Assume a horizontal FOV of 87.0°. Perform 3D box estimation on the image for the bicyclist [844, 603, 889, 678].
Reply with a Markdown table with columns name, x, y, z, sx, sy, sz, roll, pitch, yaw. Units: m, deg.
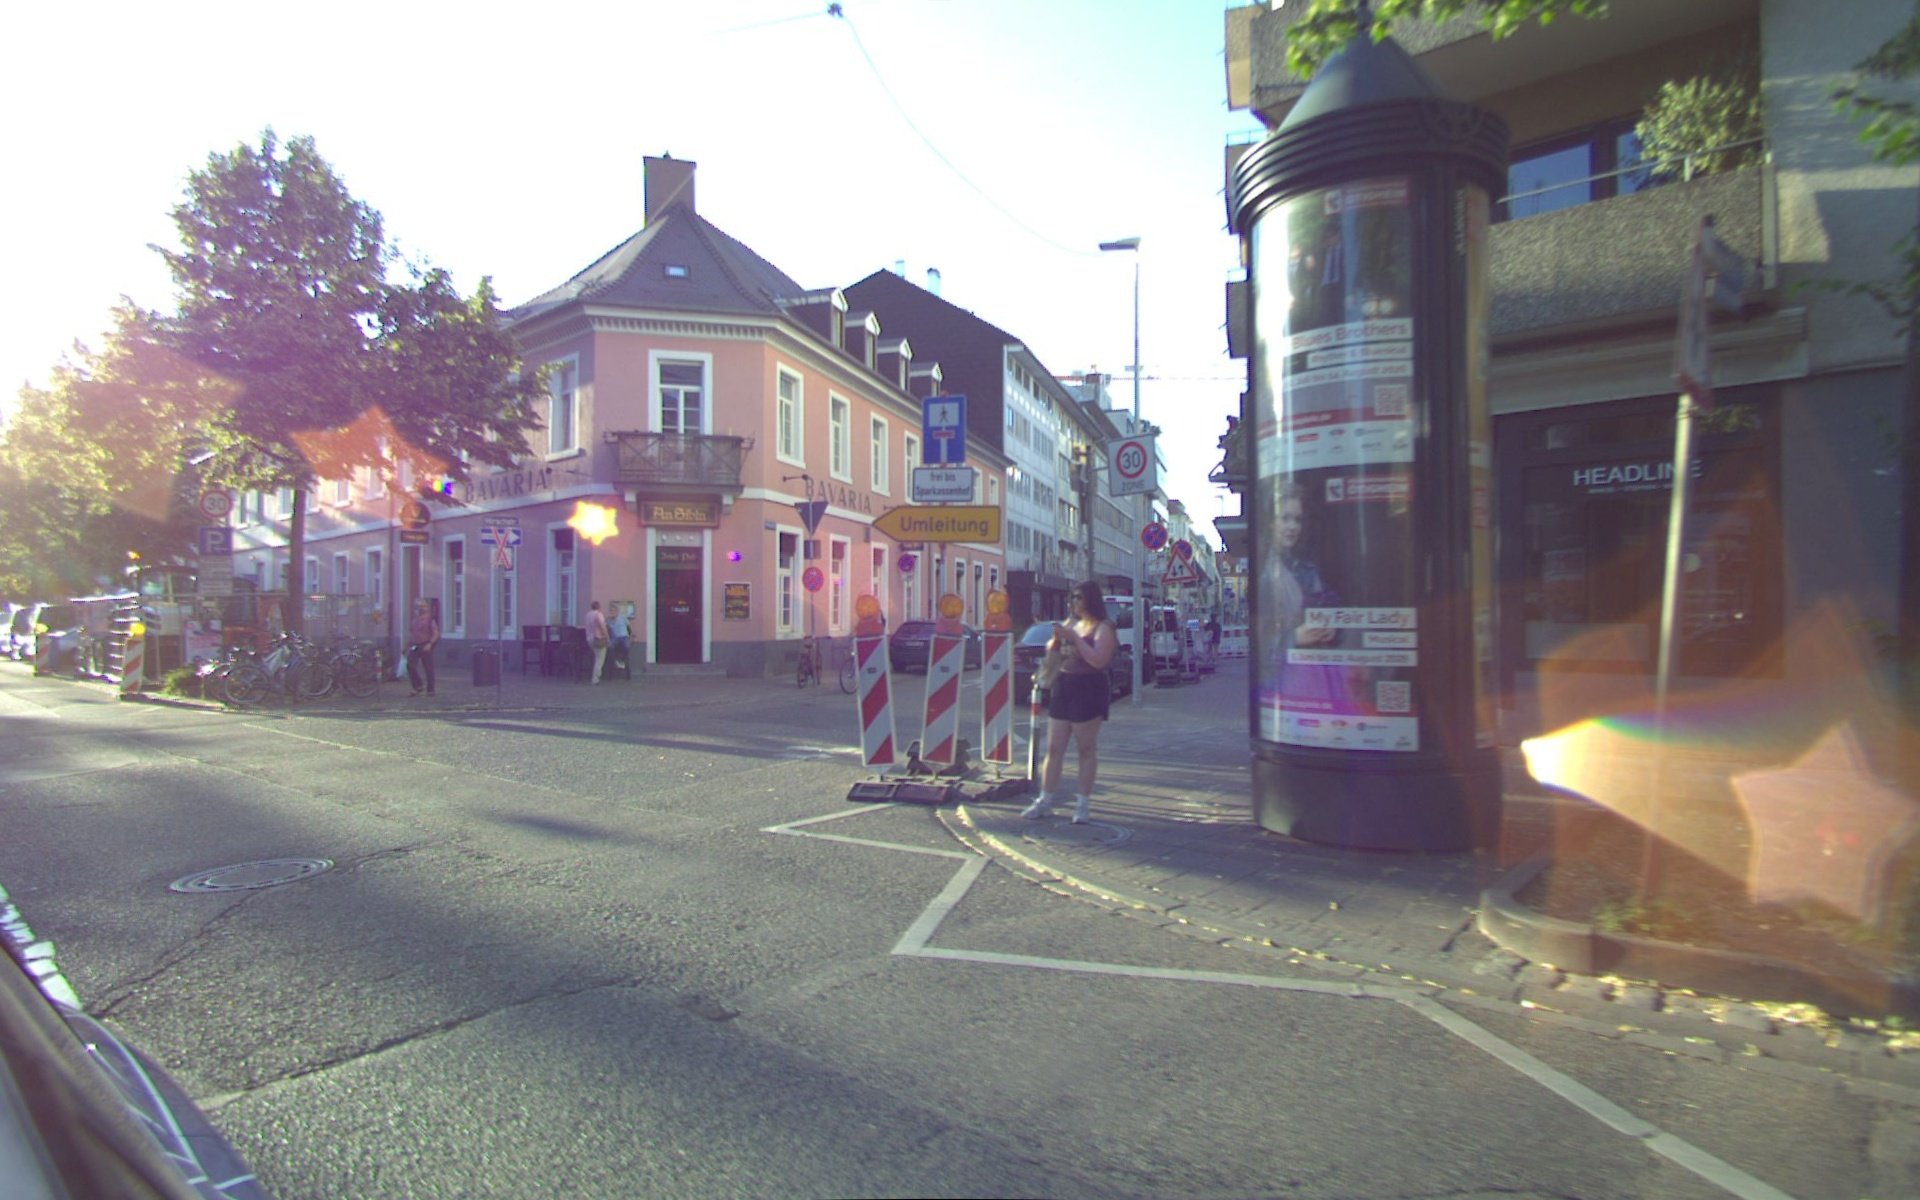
| name | x | y | z | sx | sy | sz | roll | pitch | yaw |
| --- | --- | --- | --- | --- | --- | --- | --- | --- | --- |
| bicyclist | -1.874 | 0.804 | 20.392 | 0.582 | 1.469 | 0.737 | -3 | -2 | 25 |

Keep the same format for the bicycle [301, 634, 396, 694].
| name | x | y | z | sx | sy | sz | roll | pitch | yaw |
| --- | --- | --- | --- | --- | --- | --- | --- | --- | --- |
| bicycle | -12.909 | 1.329 | 21.413 | 0.445 | 1.157 | 1.664 | 0 | 1 | 44 |

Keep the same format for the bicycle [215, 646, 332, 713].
| name | x | y | z | sx | sy | sz | roll | pitch | yaw |
| --- | --- | --- | --- | --- | --- | --- | --- | --- | --- |
| bicycle | -12.282 | 1.394 | 18.143 | 1.662 | 1.029 | 0.445 | -3 | 2 | -41 |

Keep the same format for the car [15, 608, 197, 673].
| name | x | y | z | sx | sy | sz | roll | pitch | yaw |
| --- | --- | --- | --- | --- | --- | --- | --- | --- | --- |
| car | -28.778 | 1.317 | 34.218 | 1.963 | 1.991 | 4.440 | -2 | -1 | 39 |

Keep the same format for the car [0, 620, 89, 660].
| name | x | y | z | sx | sy | sz | roll | pitch | yaw |
| --- | --- | --- | --- | --- | --- | --- | --- | --- | --- |
| car | -45.734 | 1.931 | 49.243 | 1.972 | 1.922 | 4.820 | -2 | -2 | 41 |

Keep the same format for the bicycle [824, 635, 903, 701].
| name | x | y | z | sx | sy | sz | roll | pitch | yaw |
| --- | --- | --- | --- | --- | --- | --- | --- | --- | --- |
| bicycle | -1.898 | 1.333 | 20.289 | 0.582 | 1.202 | 2.107 | -3 | -2 | 25 |

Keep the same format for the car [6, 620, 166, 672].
| name | x | y | z | sx | sy | sz | roll | pitch | yaw |
| --- | --- | --- | --- | --- | --- | --- | --- | --- | --- |
| car | -30.860 | 1.572 | 35.822 | 1.859 | 1.649 | 4.086 | -2 | -1 | 41 |

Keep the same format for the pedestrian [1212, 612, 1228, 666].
| name | x | y | z | sx | sy | sz | roll | pitch | yaw |
| --- | --- | --- | --- | --- | --- | --- | --- | --- | --- |
| pedestrian | 7.702 | 1.158 | 30.024 | 0.426 | 1.579 | 0.460 | -1 | -1 | 14 |

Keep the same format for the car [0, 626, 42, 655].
| name | x | y | z | sx | sy | sz | roll | pitch | yaw |
| --- | --- | --- | --- | --- | --- | --- | --- | --- | --- |
| car | -51.951 | 2.182 | 54.136 | 1.962 | 1.495 | 3.996 | -2 | -2 | 40 |

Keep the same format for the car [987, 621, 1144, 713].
| name | x | y | z | sx | sy | sz | roll | pitch | yaw |
| --- | --- | --- | --- | --- | --- | --- | --- | --- | --- |
| car | 2.003 | 1.089 | 17.973 | 1.983 | 1.390 | 4.184 | -1 | -1 | 18 |

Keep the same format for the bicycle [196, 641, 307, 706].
| name | x | y | z | sx | sy | sz | roll | pitch | yaw |
| --- | --- | --- | --- | --- | --- | --- | --- | --- | --- |
| bicycle | -13.632 | 1.388 | 19.508 | 0.444 | 1.086 | 1.666 | 0 | 2 | 40 |

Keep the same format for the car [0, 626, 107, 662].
| name | x | y | z | sx | sy | sz | roll | pitch | yaw |
| --- | --- | --- | --- | --- | --- | --- | --- | --- | --- |
| car | -42.037 | 2.003 | 46.332 | 1.733 | 1.496 | 4.429 | -2 | -1 | 43 |

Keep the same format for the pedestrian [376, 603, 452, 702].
| name | x | y | z | sx | sy | sz | roll | pitch | yaw |
| --- | --- | --- | --- | --- | --- | --- | --- | --- | --- |
| pedestrian | -10.135 | 0.963 | 18.825 | 1.023 | 1.779 | 0.820 | 0 | -1 | -7 |

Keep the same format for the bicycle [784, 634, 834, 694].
| name | x | y | z | sx | sy | sz | roll | pitch | yaw |
| --- | --- | --- | --- | --- | --- | --- | --- | --- | --- |
| bicycle | -3.288 | 1.367 | 22.172 | 0.579 | 1.202 | 1.938 | 1 | 0 | 7 |

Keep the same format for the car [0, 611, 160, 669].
| name | x | y | z | sx | sy | sz | roll | pitch | yaw |
| --- | --- | --- | --- | --- | --- | --- | --- | --- | --- |
| car | -32.788 | 1.439 | 37.673 | 2.067 | 1.991 | 4.436 | -2 | -1 | 41 |

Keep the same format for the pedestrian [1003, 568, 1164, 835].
| name | x | y | z | sx | sy | sz | roll | pitch | yaw |
| --- | --- | --- | --- | --- | --- | --- | --- | --- | --- |
| pedestrian | 0.847 | 0.653 | 7.008 | 0.701 | 1.699 | 0.835 | 0 | -1 | -40 |

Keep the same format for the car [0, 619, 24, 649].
| name | x | y | z | sx | sy | sz | roll | pitch | yaw |
| --- | --- | --- | --- | --- | --- | --- | --- | --- | --- |
| car | -60.635 | 2.114 | 62.476 | 1.806 | 1.820 | 4.093 | -2 | -2 | 42 |

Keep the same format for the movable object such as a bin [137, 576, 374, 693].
| name | x | y | z | sx | sy | sz | roll | pitch | yaw |
| --- | --- | --- | --- | --- | --- | --- | --- | --- | --- |
| movable object such as a bin | -16.986 | 0.790 | 24.893 | 2.278 | 2.514 | 5.762 | 0 | -1 | -6 |

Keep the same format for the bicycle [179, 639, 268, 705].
| name | x | y | z | sx | sy | sz | roll | pitch | yaw |
| --- | --- | --- | --- | --- | --- | --- | --- | --- | --- |
| bicycle | -14.461 | 1.392 | 19.911 | 0.439 | 1.125 | 1.545 | -1 | 2 | 8 |

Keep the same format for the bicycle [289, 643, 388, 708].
| name | x | y | z | sx | sy | sz | roll | pitch | yaw |
| --- | --- | --- | --- | --- | --- | --- | --- | --- | --- |
| bicycle | -11.303 | 1.352 | 18.438 | 0.470 | 1.067 | 1.474 | 0 | 1 | 35 |

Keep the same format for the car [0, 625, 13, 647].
| name | x | y | z | sx | sy | sz | roll | pitch | yaw |
| --- | --- | --- | --- | --- | --- | --- | --- | --- | --- |
| car | -66.080 | 2.427 | 67.511 | 1.593 | 1.450 | 4.108 | -2 | -1 | 42 |

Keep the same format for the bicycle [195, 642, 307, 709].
| name | x | y | z | sx | sy | sz | roll | pitch | yaw |
| --- | --- | --- | --- | --- | --- | --- | --- | --- | --- |
| bicycle | -13.290 | 1.398 | 18.999 | 1.662 | 1.086 | 0.445 | -3 | 2 | -41 |

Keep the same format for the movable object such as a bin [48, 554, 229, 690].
| name | x | y | z | sx | sy | sz | roll | pitch | yaw |
| --- | --- | --- | --- | --- | --- | --- | --- | --- | --- |
| movable object such as a bin | -20.366 | 0.537 | 25.023 | 5.300 | 2.991 | 2.597 | -1 | -1 | 41 |

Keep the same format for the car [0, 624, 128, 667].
| name | x | y | z | sx | sy | sz | roll | pitch | yaw |
| --- | --- | --- | --- | --- | --- | --- | --- | --- | --- |
| car | -36.046 | 1.789 | 40.239 | 1.838 | 1.512 | 4.288 | -2 | -1 | 36 |

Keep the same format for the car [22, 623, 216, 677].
| name | x | y | z | sx | sy | sz | roll | pitch | yaw |
| --- | --- | --- | --- | --- | --- | --- | --- | --- | --- |
| car | -26.527 | 1.535 | 32.020 | 1.893 | 1.481 | 4.543 | -2 | -1 | 44 |

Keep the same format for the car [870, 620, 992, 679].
| name | x | y | z | sx | sy | sz | roll | pitch | yaw |
| --- | --- | --- | --- | --- | --- | --- | --- | --- | --- |
| car | -0.703 | 1.325 | 28.325 | 1.982 | 1.482 | 4.501 | -2 | -1 | 18 |

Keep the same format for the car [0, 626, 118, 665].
| name | x | y | z | sx | sy | sz | roll | pitch | yaw |
| --- | --- | --- | --- | --- | --- | --- | --- | --- | --- |
| car | -38.052 | 1.877 | 42.559 | 1.905 | 1.512 | 3.880 | -2 | -1 | 43 |

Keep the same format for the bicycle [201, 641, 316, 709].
| name | x | y | z | sx | sy | sz | roll | pitch | yaw |
| --- | --- | --- | --- | --- | --- | --- | --- | --- | --- |
| bicycle | -12.866 | 1.360 | 18.592 | 1.662 | 1.086 | 0.445 | -3 | 2 | -41 |

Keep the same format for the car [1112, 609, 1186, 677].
| name | x | y | z | sx | sy | sz | roll | pitch | yaw |
| --- | --- | --- | --- | --- | --- | --- | --- | --- | --- |
| car | 5.875 | 1.240 | 31.011 | 2.050 | 1.881 | 4.510 | 1 | -1 | 13 |

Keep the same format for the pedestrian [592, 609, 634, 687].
| name | x | y | z | sx | sy | sz | roll | pitch | yaw |
| --- | --- | --- | --- | --- | --- | --- | --- | --- | --- |
| pedestrian | -7.633 | 1.042 | 22.254 | 0.718 | 1.662 | 0.501 | 1 | 0 | 32 |

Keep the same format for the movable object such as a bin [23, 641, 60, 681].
| name | x | y | z | sx | sy | sz | roll | pitch | yaw |
| --- | --- | --- | --- | --- | --- | --- | --- | --- | --- |
| movable object such as a bin | -26.388 | 1.741 | 29.079 | 0.883 | 1.113 | 0.682 | -1 | -3 | 43 |

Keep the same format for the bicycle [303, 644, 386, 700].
| name | x | y | z | sx | sy | sz | roll | pitch | yaw |
| --- | --- | --- | --- | --- | --- | --- | --- | --- | --- |
| bicycle | -12.021 | 1.391 | 19.786 | 0.445 | 0.987 | 1.309 | 0 | 1 | 44 |

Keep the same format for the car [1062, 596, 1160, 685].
| name | x | y | z | sx | sy | sz | roll | pitch | yaw |
| --- | --- | --- | --- | --- | --- | --- | --- | --- | --- |
| car | 3.820 | 0.940 | 25.001 | 2.050 | 1.960 | 4.510 | 1 | -1 | 13 |

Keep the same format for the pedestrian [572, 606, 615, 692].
| name | x | y | z | sx | sy | sz | roll | pitch | yaw |
| --- | --- | --- | --- | --- | --- | --- | --- | --- | --- |
| pedestrian | -7.707 | 1.015 | 21.274 | 0.718 | 1.750 | 0.501 | 1 | 0 | 32 |

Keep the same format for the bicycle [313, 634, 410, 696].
| name | x | y | z | sx | sy | sz | roll | pitch | yaw |
| --- | --- | --- | --- | --- | --- | --- | --- | --- | --- |
| bicycle | -12.395 | 1.326 | 20.998 | 0.445 | 1.157 | 1.664 | 0 | 1 | 44 |
